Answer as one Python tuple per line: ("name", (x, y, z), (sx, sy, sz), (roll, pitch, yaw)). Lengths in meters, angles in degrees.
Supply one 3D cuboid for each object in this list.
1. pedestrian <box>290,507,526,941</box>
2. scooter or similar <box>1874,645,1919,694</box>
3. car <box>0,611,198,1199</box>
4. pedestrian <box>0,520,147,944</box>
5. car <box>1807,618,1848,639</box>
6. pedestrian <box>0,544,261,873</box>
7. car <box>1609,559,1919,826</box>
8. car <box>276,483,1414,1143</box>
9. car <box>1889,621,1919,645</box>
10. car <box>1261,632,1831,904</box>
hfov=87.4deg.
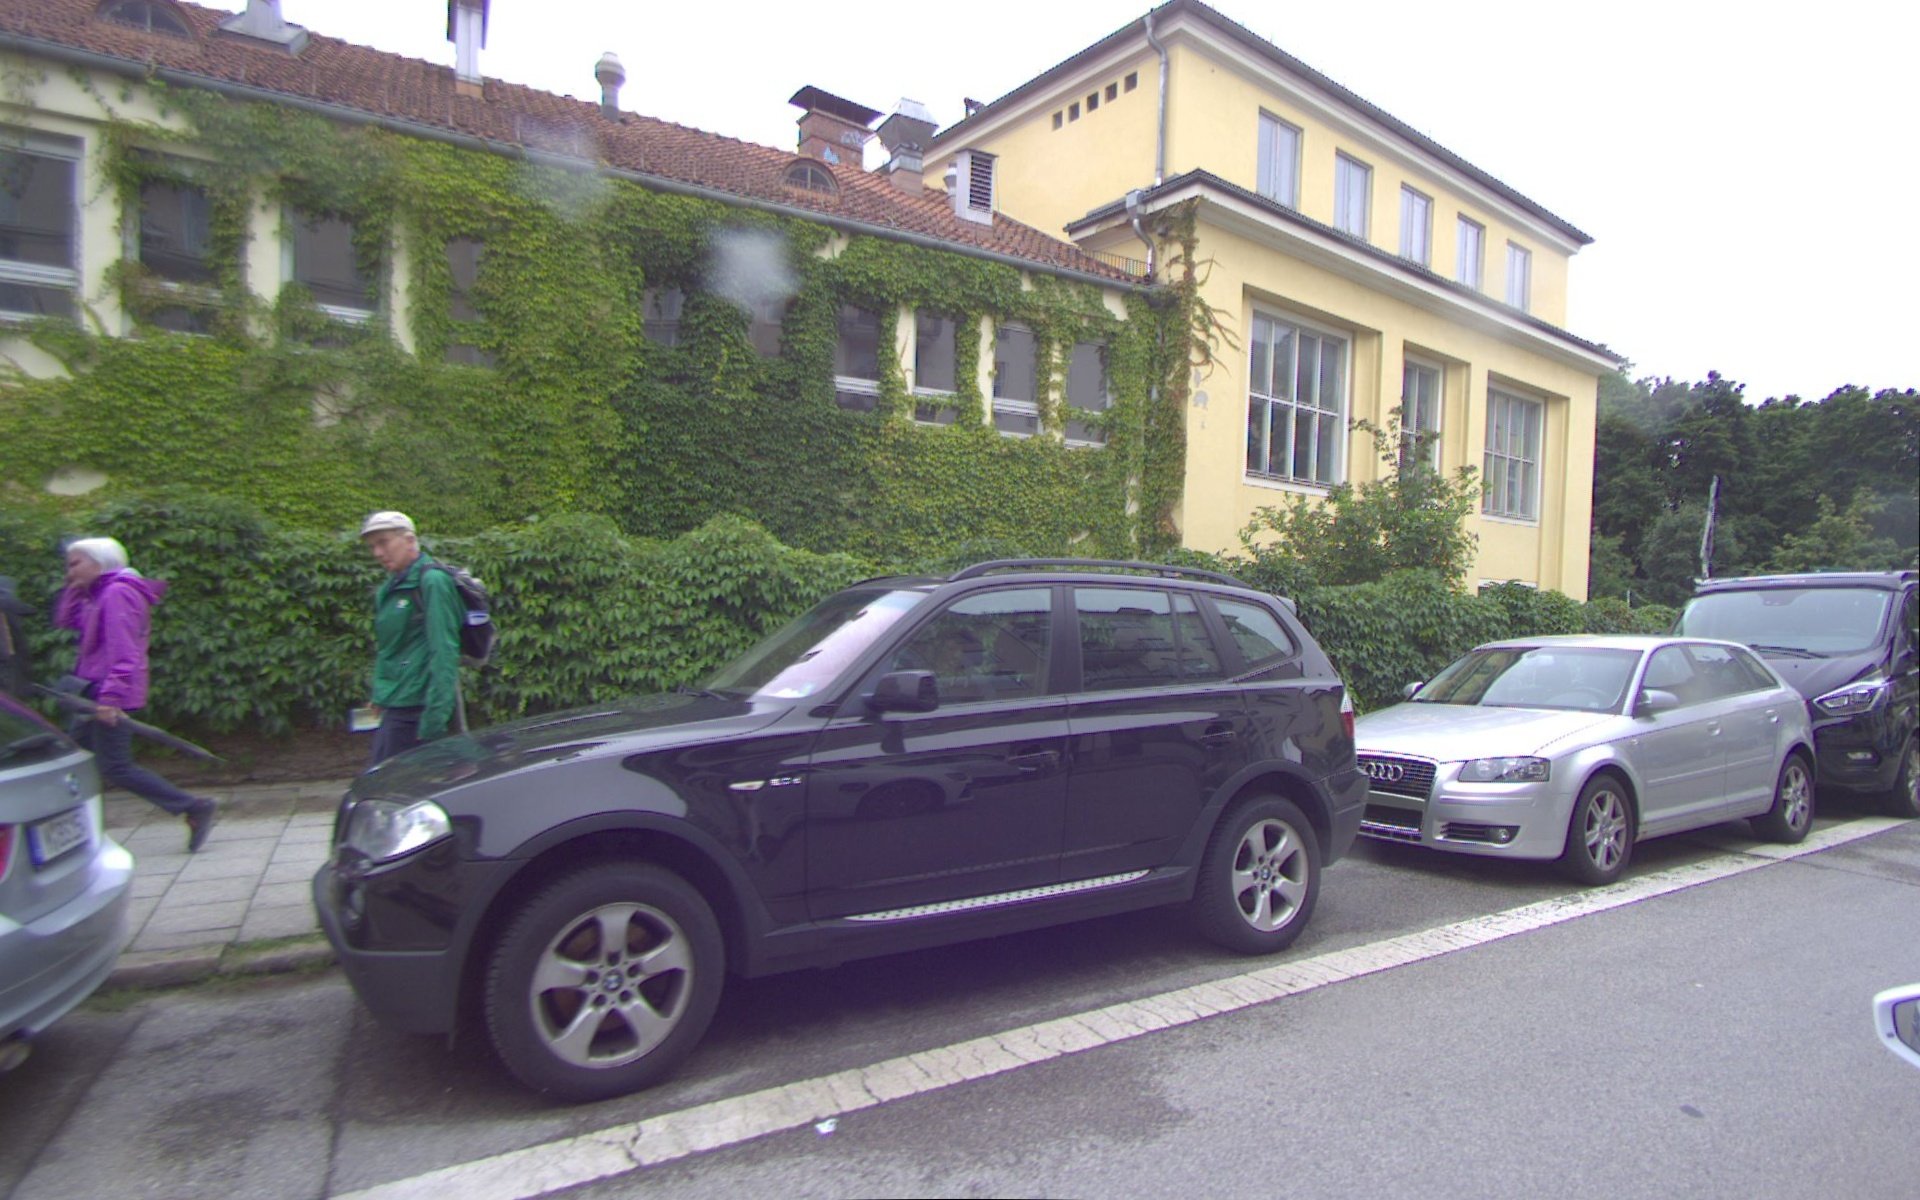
("pedestrian", (-2.545, 0.511, 4.692), (0.861, 1.778, 0.839), (1, 1, -28))
("scooter or similar", (24.974, 1.838, 26.643), (1.033, 1.228, 0.439), (3, 0, -5))
("car", (-4.486, 0.721, 2.015), (4.436, 1.395, 1.797), (2, -4, -29))
("pedestrian", (-4.033, 0.516, 4.203), (0.862, 1.674, 0.679), (1, 1, -30))
("car", (76.885, 2.541, 89.059), (1.765, 1.702, 3.995), (2, 1, 27))
("pedestrian", (-4.215, 0.502, 5.192), (0.861, 1.514, 0.839), (1, 1, -28))
("car", (8.322, 0.759, 9.656), (4.576, 2.005, 1.913), (1, -2, -35))
("car", (-0.188, 0.596, 4.361), (4.438, 1.627, 1.694), (1, -2, -30))
("car", (67.993, 2.362, 71.749), (1.623, 1.579, 3.552), (2, 1, 30))
("car", (4.118, 0.935, 6.924), (3.956, 1.383, 1.698), (1, -3, -31))
